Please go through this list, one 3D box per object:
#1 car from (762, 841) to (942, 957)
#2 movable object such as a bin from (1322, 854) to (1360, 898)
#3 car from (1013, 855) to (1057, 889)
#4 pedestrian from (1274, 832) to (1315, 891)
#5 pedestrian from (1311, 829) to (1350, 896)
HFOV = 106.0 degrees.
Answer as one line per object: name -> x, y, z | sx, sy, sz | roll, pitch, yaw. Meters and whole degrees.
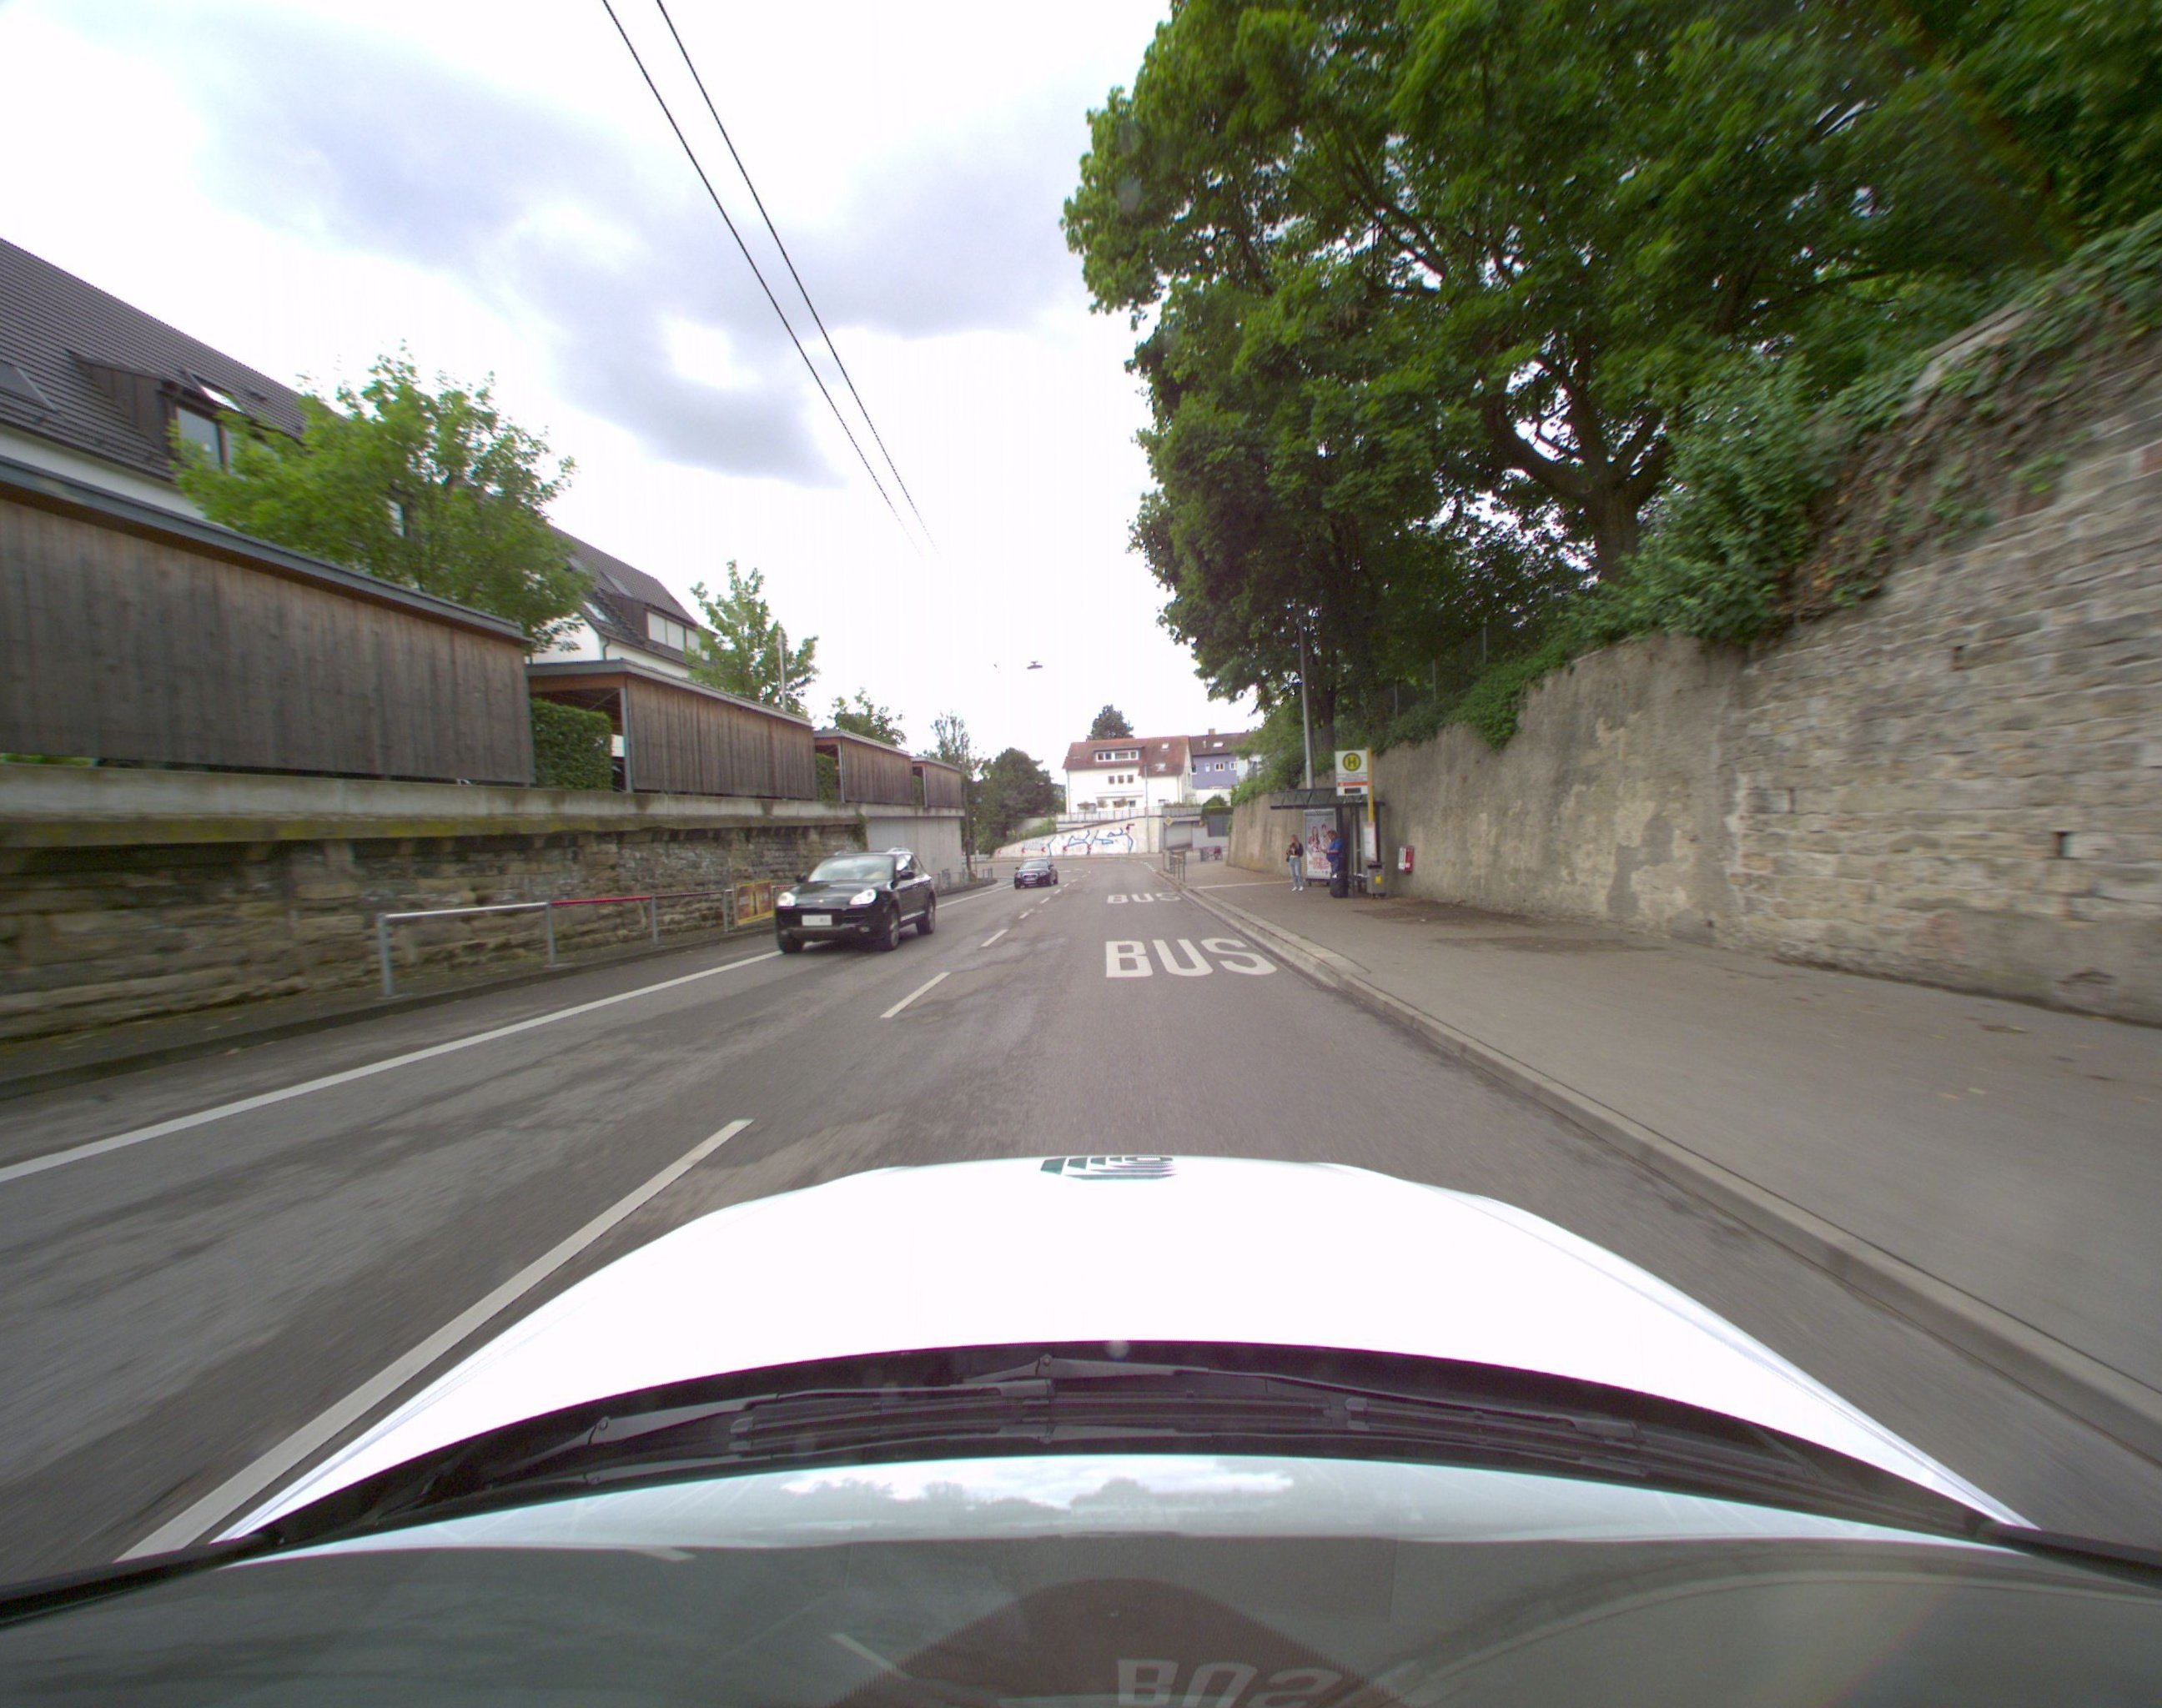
car -> -4.025, 0.727, 15.174 | 1.887, 1.756, 4.439 | -3, 0, 2
movable object such as a bin -> 6.341, 0.526, 19.859 | 0.673, 1.020, 0.626 | -3, 1, -3
car -> -2.261, 0.862, 40.849 | 1.728, 1.533, 4.003 | -3, 0, 2
pedestrian -> 6.002, 0.206, 22.902 | 0.728, 1.587, 0.778 | -3, 1, 43
pedestrian -> 6.288, 0.217, 20.548 | 0.719, 1.642, 0.630 | -3, 0, -3
